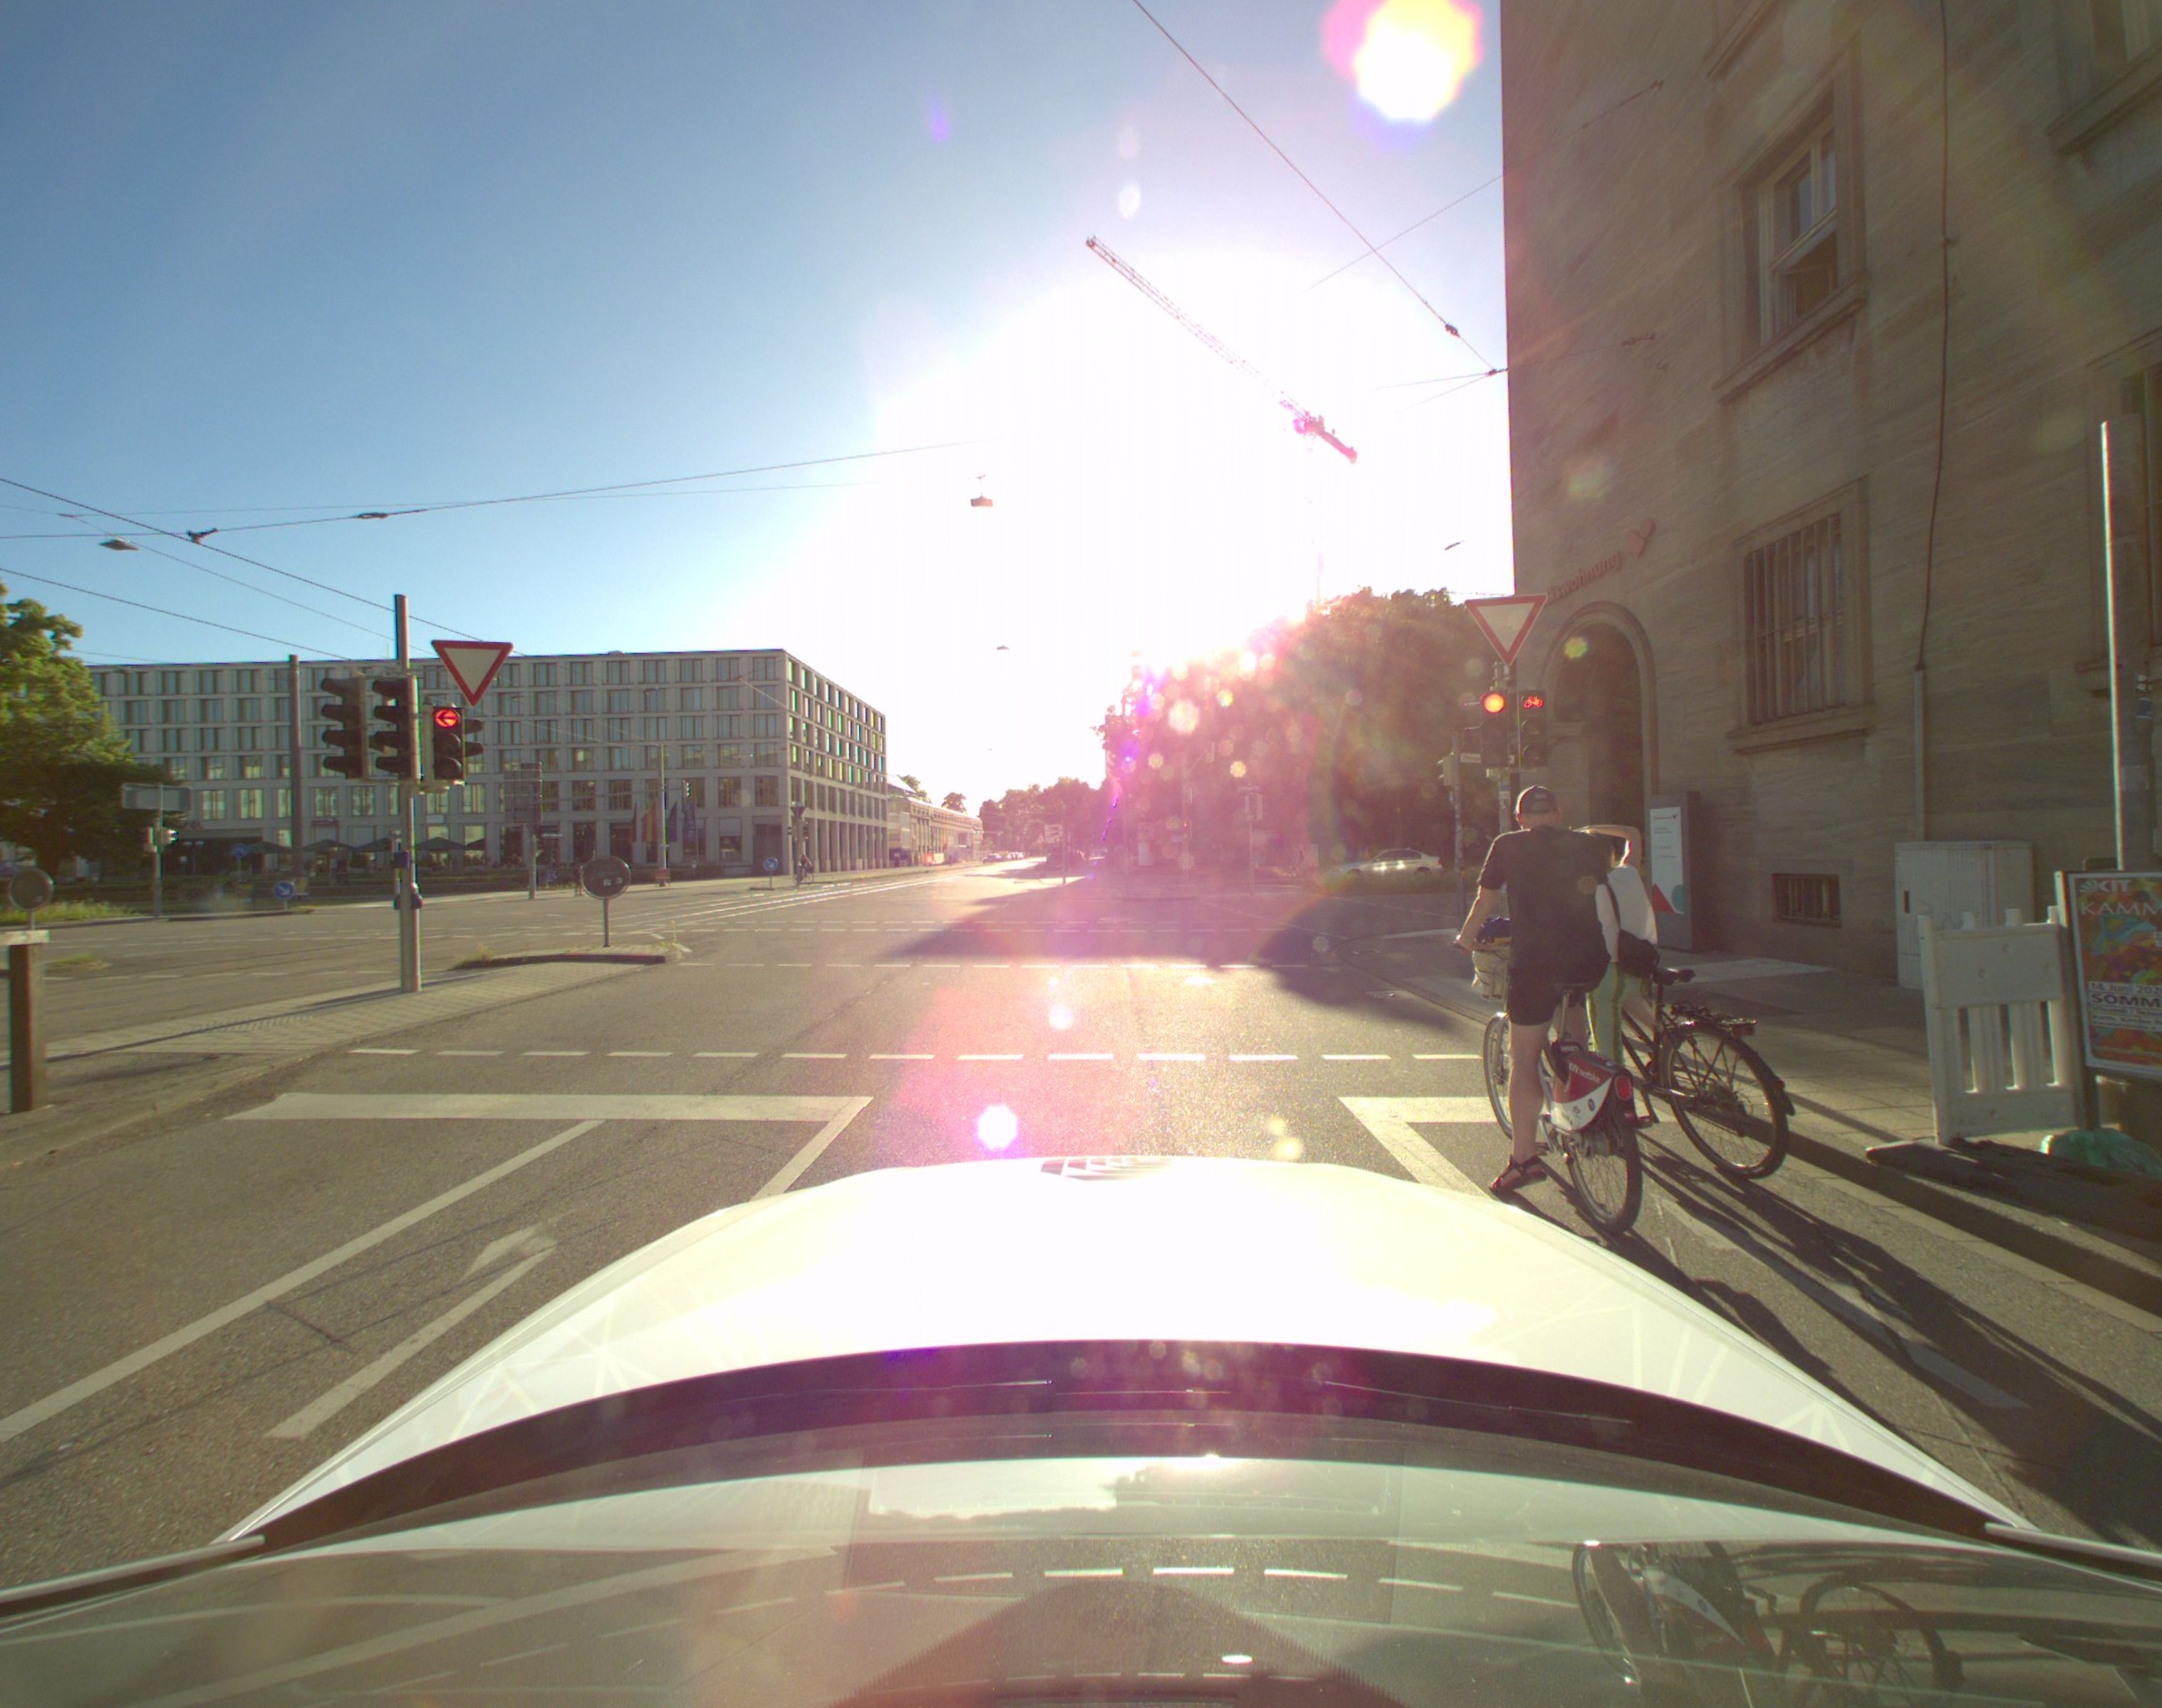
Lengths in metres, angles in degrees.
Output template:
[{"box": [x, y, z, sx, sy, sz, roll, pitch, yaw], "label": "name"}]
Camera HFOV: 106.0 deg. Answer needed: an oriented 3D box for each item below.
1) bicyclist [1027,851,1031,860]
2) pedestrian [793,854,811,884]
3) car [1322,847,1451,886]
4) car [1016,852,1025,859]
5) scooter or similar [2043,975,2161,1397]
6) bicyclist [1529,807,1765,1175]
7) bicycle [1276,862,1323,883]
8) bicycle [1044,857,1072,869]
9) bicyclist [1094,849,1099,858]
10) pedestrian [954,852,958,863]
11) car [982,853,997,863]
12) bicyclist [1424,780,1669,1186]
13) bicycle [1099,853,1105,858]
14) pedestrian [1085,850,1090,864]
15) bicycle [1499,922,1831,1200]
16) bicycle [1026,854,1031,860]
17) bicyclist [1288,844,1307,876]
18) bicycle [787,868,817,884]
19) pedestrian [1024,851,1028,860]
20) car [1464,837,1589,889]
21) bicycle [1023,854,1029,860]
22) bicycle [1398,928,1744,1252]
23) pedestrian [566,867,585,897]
[{"box": [-11.905, 0.337, 185.122, 0.748, 1.920, 1.214, 0, -1, 1], "label": "bicyclist"}, {"box": [-15.315, 0.814, 44.690, 0.735, 1.595, 0.577, -2, 0, 29], "label": "pedestrian"}, {"box": [12.442, 0.504, 33.408, 4.559, 1.516, 2.001, 0, -1, 1], "label": "car"}, {"box": [-14.445, 0.323, 195.318, 1.988, 1.644, 3.998, -2, 0, -1], "label": "car"}, {"box": [3.319, 0.941, 1.919, 0.571, 1.150, 1.272, 0, -2, 0], "label": "scooter or similar"}, {"box": [2.962, 0.654, 4.363, 0.581, 1.738, 0.951, -2, 0, 2], "label": "bicyclist"}, {"box": [9.718, 0.830, 36.277, 1.932, 0.889, 0.719, -1, -1, 8], "label": "bicycle"}, {"box": [-1.903, 0.720, 67.433, 2.240, 0.940, 0.653, -2, 0, -4], "label": "bicycle"}, {"box": [3.731, -0.077, 196.727, 0.891, 2.014, 0.746, 0, -1, -10], "label": "bicyclist"}, {"box": [-20.348, 0.583, 132.991, 0.585, 1.889, 0.478, 0, -1, 1], "label": "pedestrian"}, {"box": [-15.771, 0.630, 140.015, 1.986, 1.599, 4.001, -2, 0, 1], "label": "car"}, {"box": [2.183, 0.550, 3.941, 0.621, 1.715, 0.913, -2, 0, 0], "label": "bicyclist"}, {"box": [5.137, 0.312, 196.975, 0.890, 1.219, 2.784, 0, -1, -9], "label": "bicycle"}, {"box": [0.793, 0.366, 97.858, 0.576, 1.689, 0.584, -2, 0, -6], "label": "pedestrian"}, {"box": [2.972, 0.970, 4.397, 0.579, 1.044, 1.748, -2, 0, 3], "label": "bicycle"}, {"box": [-11.906, 0.700, 185.238, 0.748, 1.205, 3.108, 0, -1, 1], "label": "bicycle"}, {"box": [9.625, 0.267, 36.290, 0.742, 1.406, 0.704, -1, -1, 8], "label": "bicyclist"}, {"box": [-15.307, 1.204, 44.695, 1.696, 0.823, 0.577, -2, 0, 29], "label": "bicycle"}, {"box": [-12.254, 0.280, 180.735, 0.746, 2.063, 1.052, 0, -1, 7], "label": "pedestrian"}, {"box": [17.888, 0.351, 32.850, 3.970, 2.014, 2.002, 0, -1, 3], "label": "car"}, {"box": [-12.273, 0.709, 180.665, 0.746, 1.205, 3.114, 0, -1, 7], "label": "bicycle"}, {"box": [2.190, 0.970, 3.951, 0.621, 1.044, 1.747, -2, 0, 1], "label": "bicycle"}, {"box": [-28.293, 1.554, 45.553, 0.600, 1.681, 0.608, -2, 0, 9], "label": "pedestrian"}]
